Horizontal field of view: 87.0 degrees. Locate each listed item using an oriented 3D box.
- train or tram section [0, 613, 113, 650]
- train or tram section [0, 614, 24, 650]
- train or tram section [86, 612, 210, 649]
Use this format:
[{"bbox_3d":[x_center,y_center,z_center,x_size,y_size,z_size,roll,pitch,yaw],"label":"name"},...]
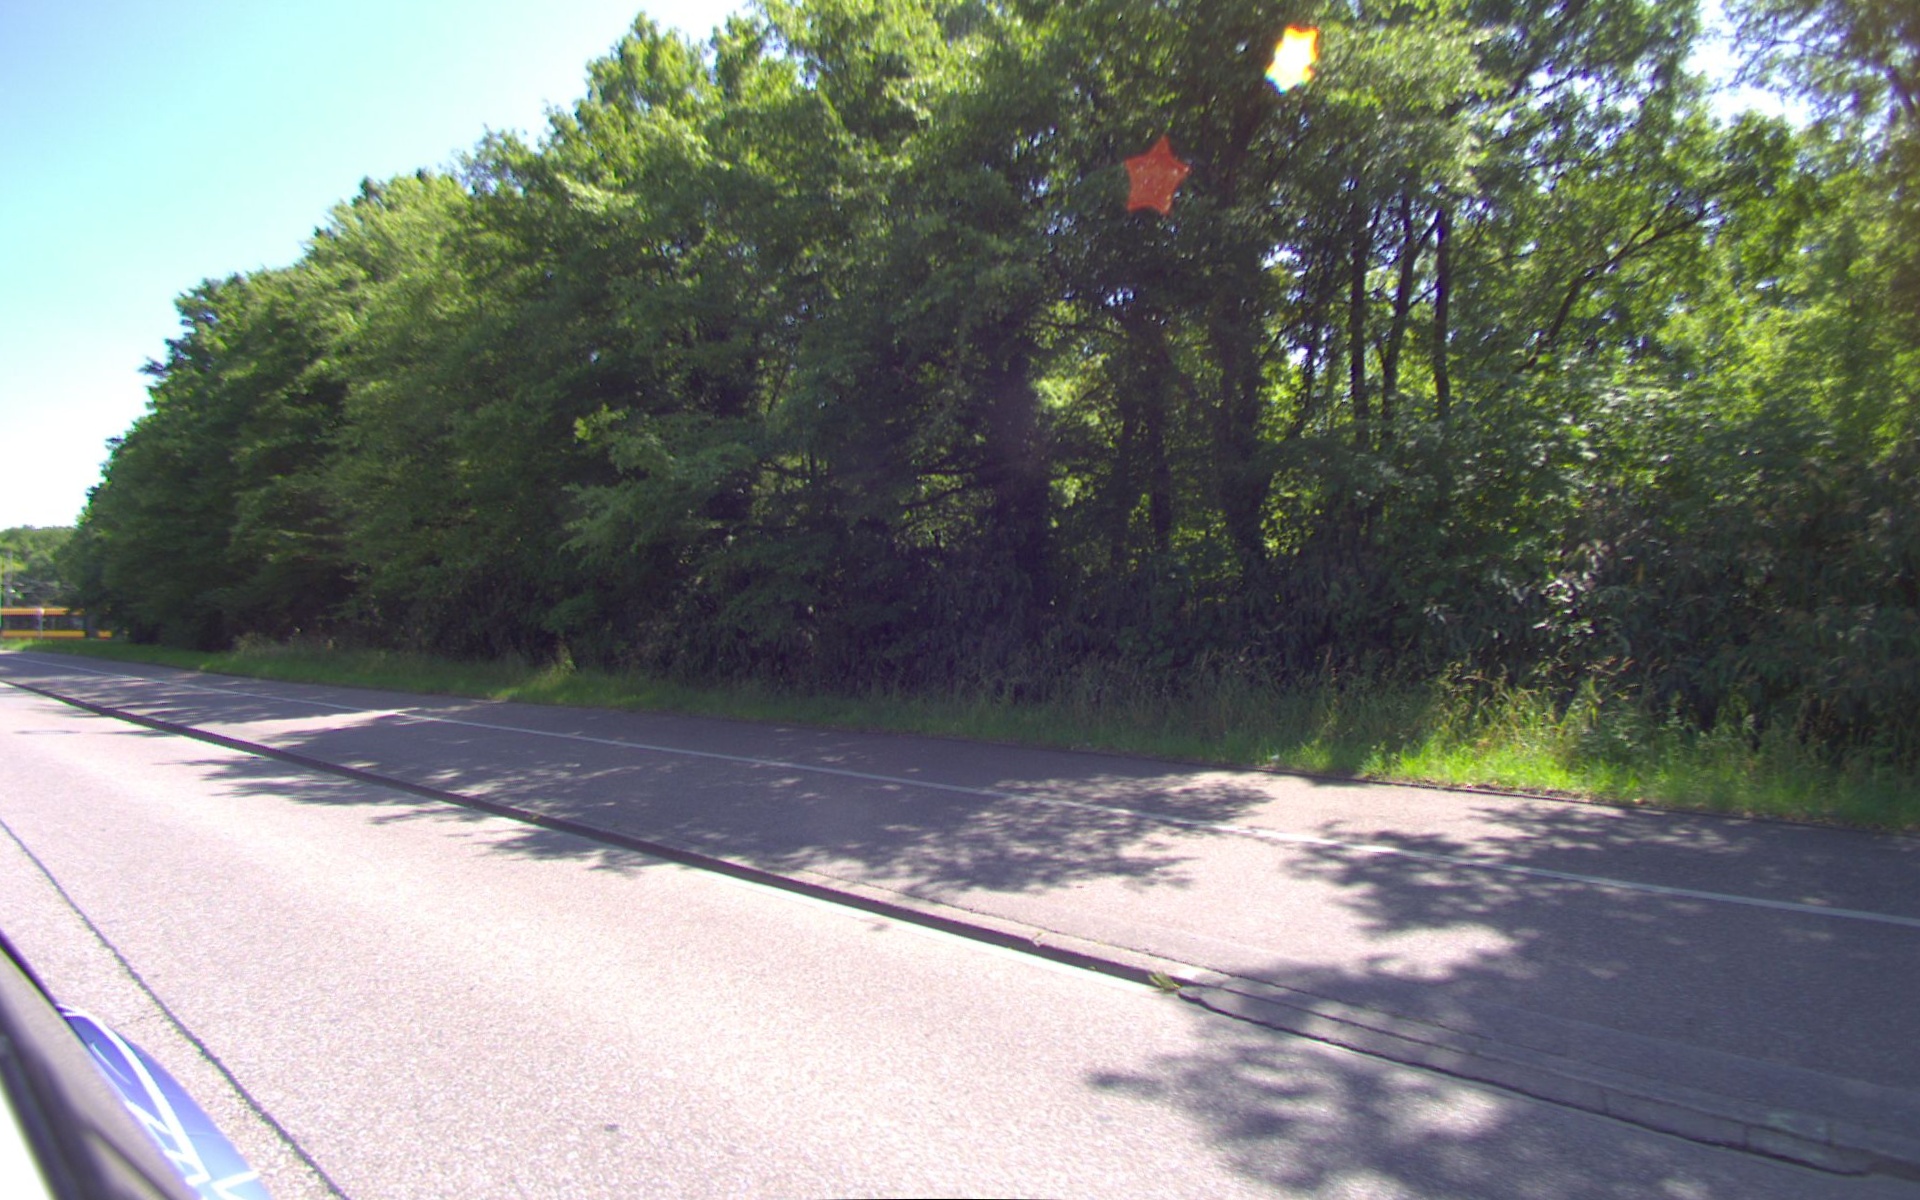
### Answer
[{"bbox_3d":[-89.276,3.098,99.584,10.726,3.492,2.645,-1,-1,8],"label":"train or tram section"},{"bbox_3d":[-98.933,3.271,103.147,10.820,3.492,2.551,-2,-2,33],"label":"train or tram section"},{"bbox_3d":[-80.303,3.003,100.247,9.192,3.492,2.791,0,-1,-18],"label":"train or tram section"}]
